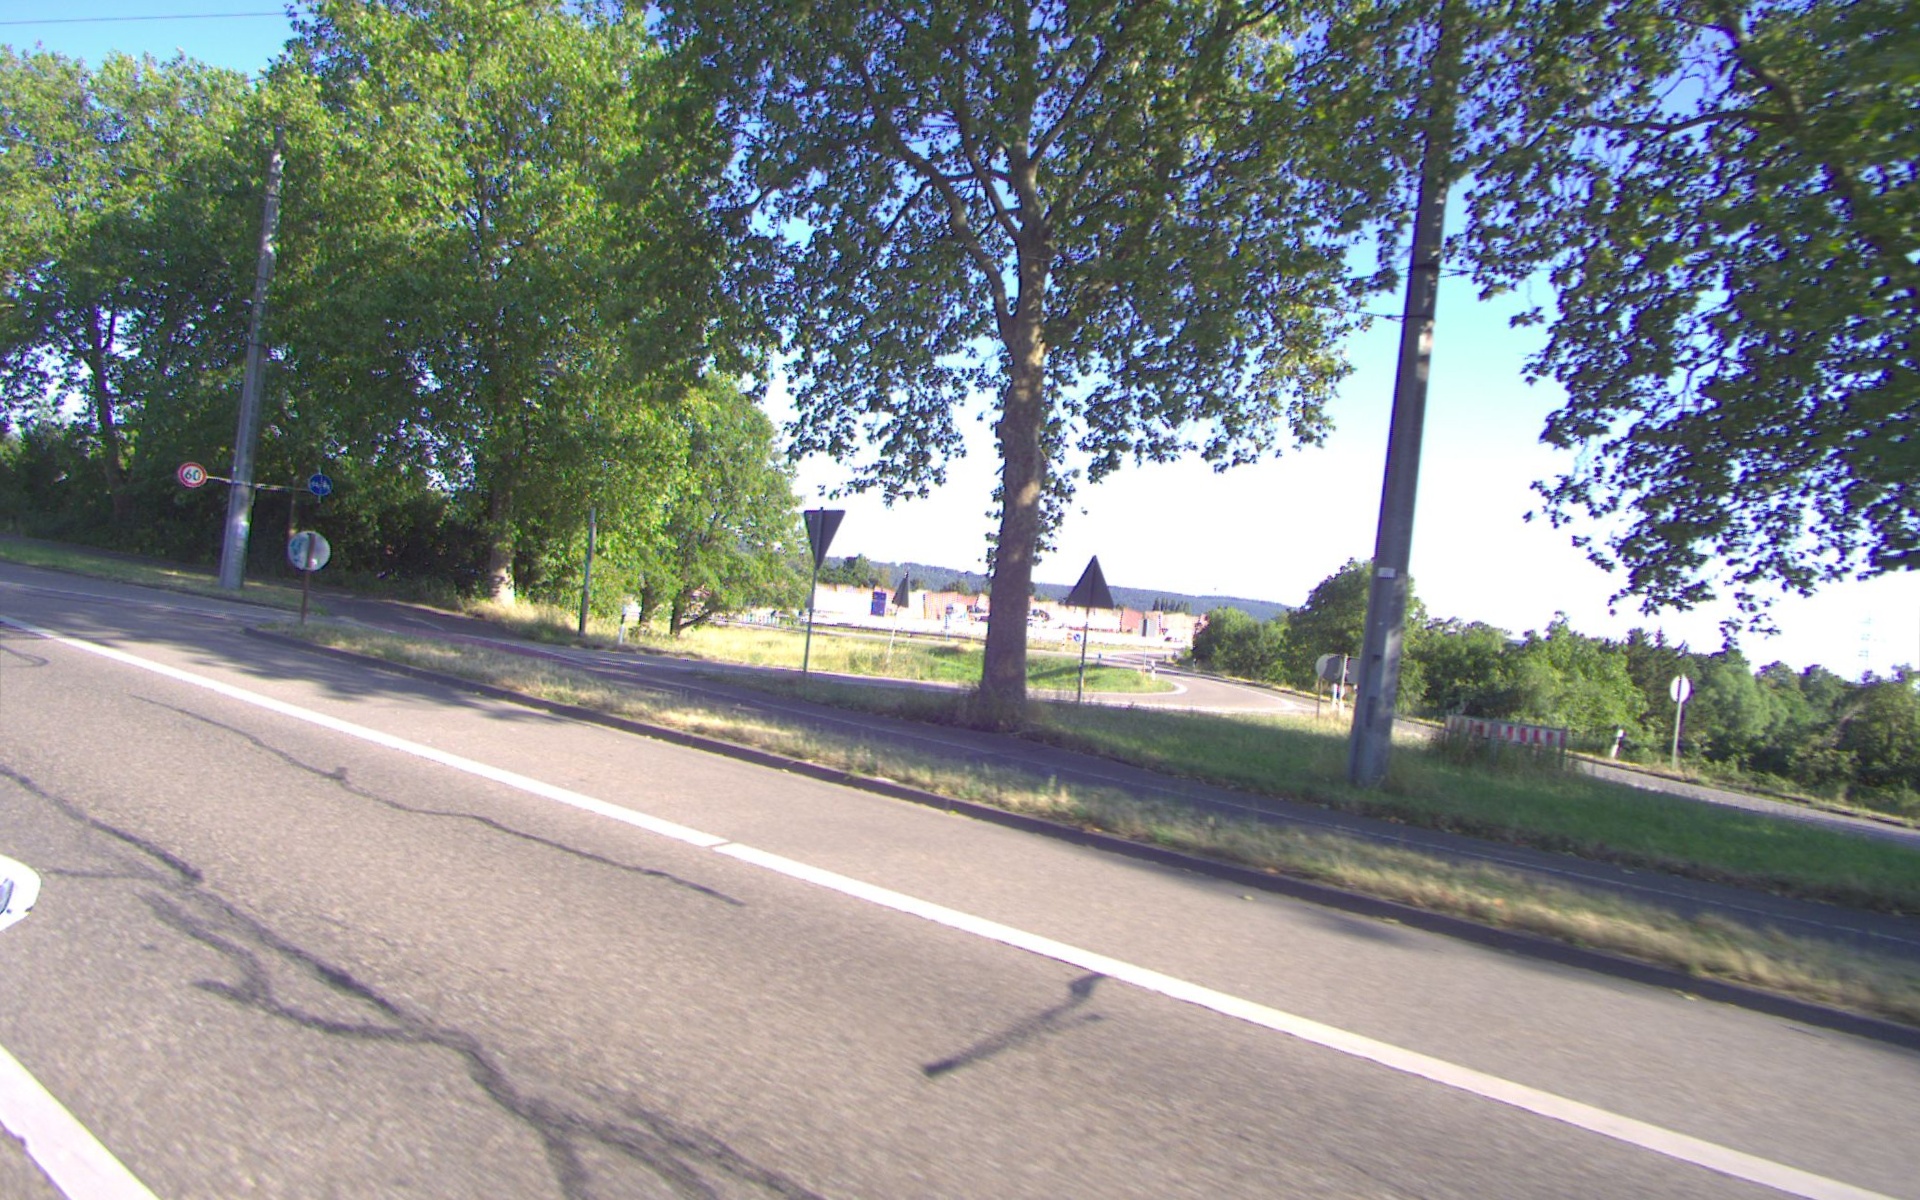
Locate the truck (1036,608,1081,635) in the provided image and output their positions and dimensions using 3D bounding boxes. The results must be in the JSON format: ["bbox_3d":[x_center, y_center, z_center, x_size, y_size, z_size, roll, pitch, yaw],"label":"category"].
[{"bbox_3d":[18.006,3.889,183.784,7.257,3.882,3.114,9,-2,-27],"label":"truck"}]

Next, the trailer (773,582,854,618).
[{"bbox_3d":[-22.840,-0.029,157.416,11.935,3.882,3.113,9,-3,-28],"label":"trailer"}]

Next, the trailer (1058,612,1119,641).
[{"bbox_3d":[23.914,4.893,186.860,11.270,3.882,3.114,9,-2,-27],"label":"trailer"}]

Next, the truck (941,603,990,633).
[{"bbox_3d":[0.917,3.053,170.456,7.260,3.882,3.113,9,-2,-28],"label":"truck"}]

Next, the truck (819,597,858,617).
[{"bbox_3d":[-19.698,1.190,162.995,5.766,2.459,1.989,9,-2,-26],"label":"truck"}]

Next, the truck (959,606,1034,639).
[{"bbox_3d":[6.369,3.952,173.397,12.832,3.882,3.113,9,-3,-28],"label":"truck"}]

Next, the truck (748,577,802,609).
[{"bbox_3d":[-28.371,-1.079,154.394,7.260,3.882,3.113,9,-2,-28],"label":"truck"}]
